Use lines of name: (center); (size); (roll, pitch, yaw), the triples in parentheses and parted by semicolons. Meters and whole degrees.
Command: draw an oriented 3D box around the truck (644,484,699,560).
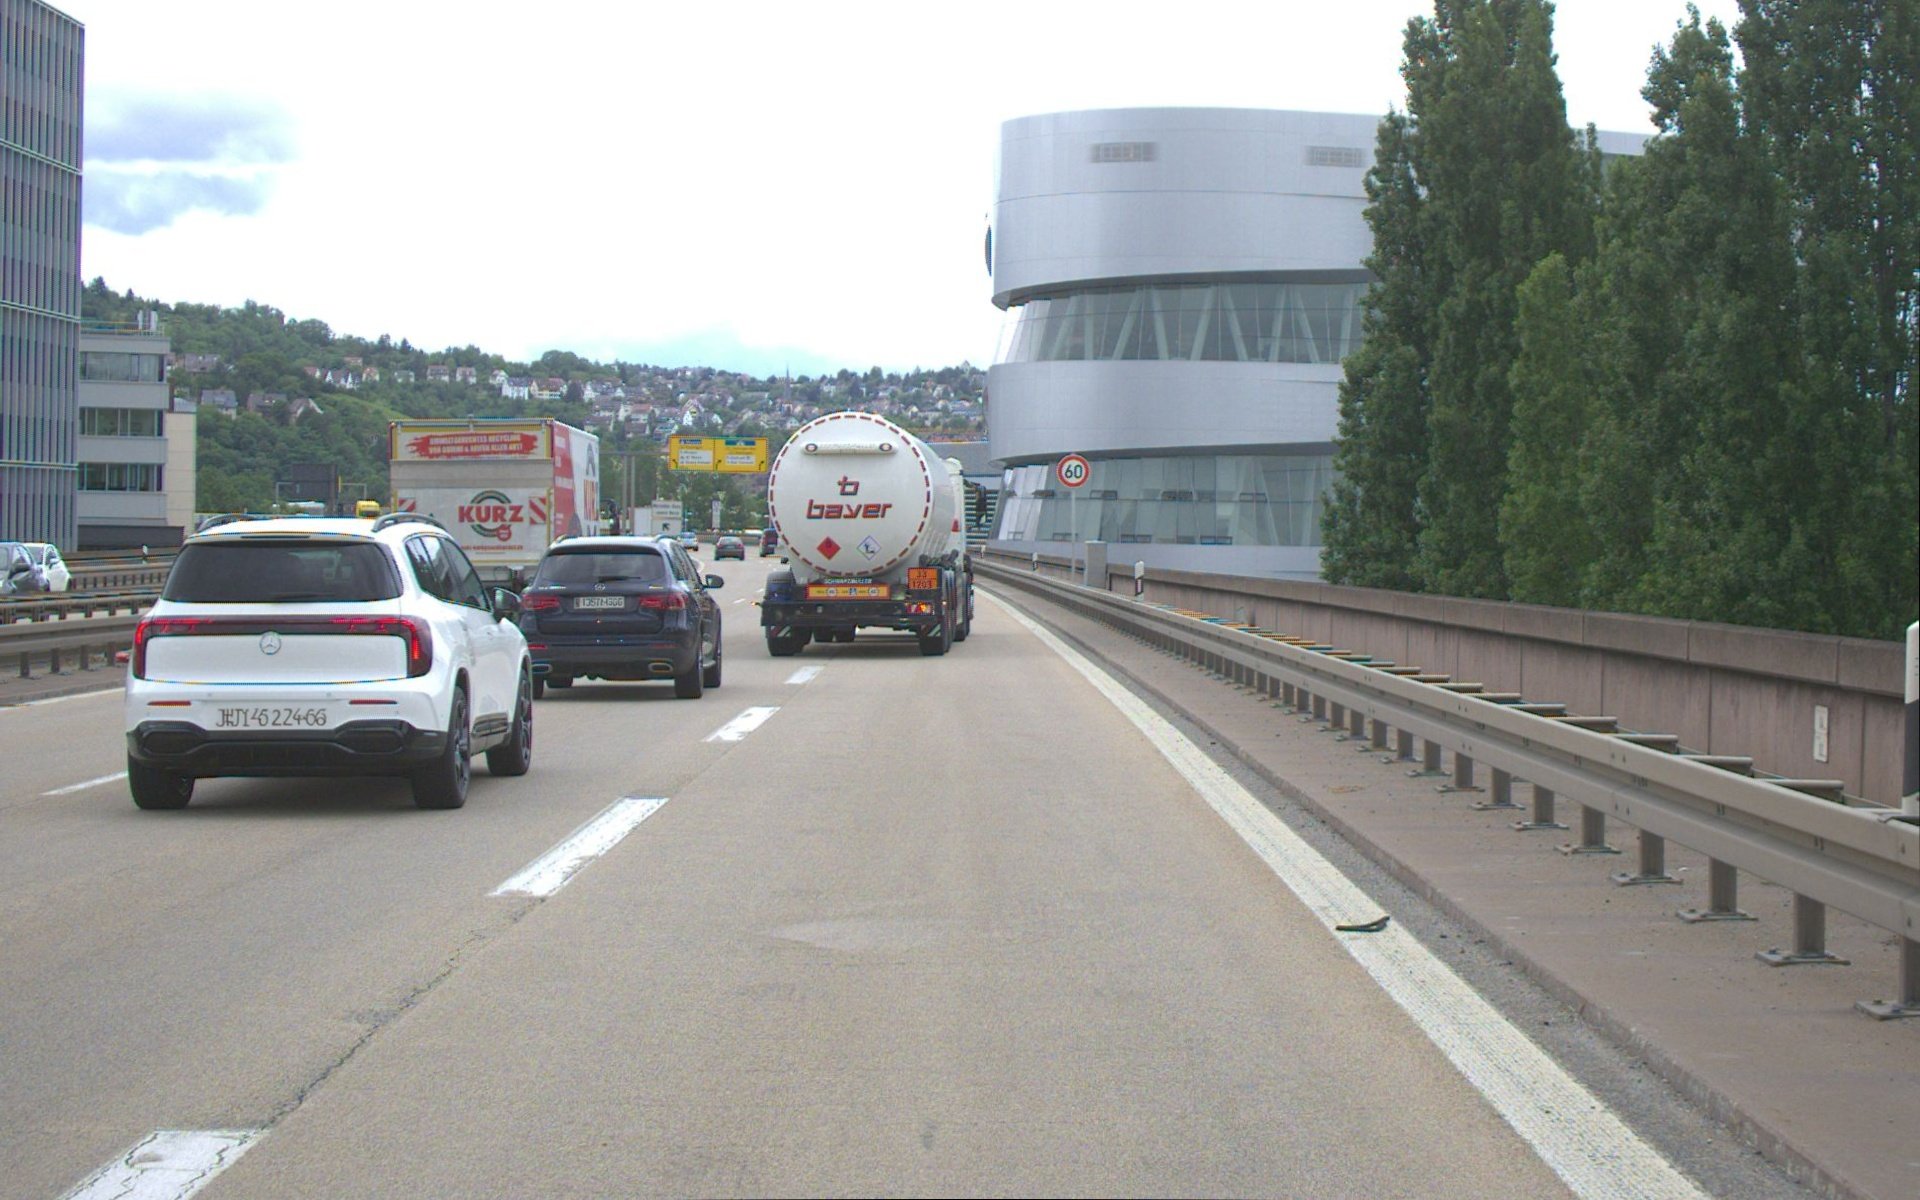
truck: (-15.035, -4.091, 179.662); (2.395, 3.880, 5.943); (-1, 1, 0)

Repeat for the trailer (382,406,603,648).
trailer: (-7.537, -1.190, 56.329); (2.690, 3.677, 7.314); (-1, 1, -1)

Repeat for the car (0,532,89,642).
car: (-16.287, -0.241, 58.476); (1.993, 1.787, 4.000); (-1, 1, -1)

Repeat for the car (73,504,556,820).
car: (-3.782, 0.306, 21.050); (1.993, 1.663, 4.892); (1, 1, 0)

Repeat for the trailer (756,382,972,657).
trailer: (-1.294, -1.214, 52.411); (2.792, 3.724, 11.155); (-1, 1, 1)

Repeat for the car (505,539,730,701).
car: (-3.441, 0.173, 35.241); (1.846, 1.499, 4.265); (2, 1, 0)

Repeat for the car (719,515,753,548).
car: (-13.613, -4.165, 208.651); (1.993, 2.007, 4.001); (-1, 1, -4)

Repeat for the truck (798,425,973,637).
truck: (-1.204, -1.186, 58.973); (2.769, 3.418, 5.965); (-1, 1, 1)
